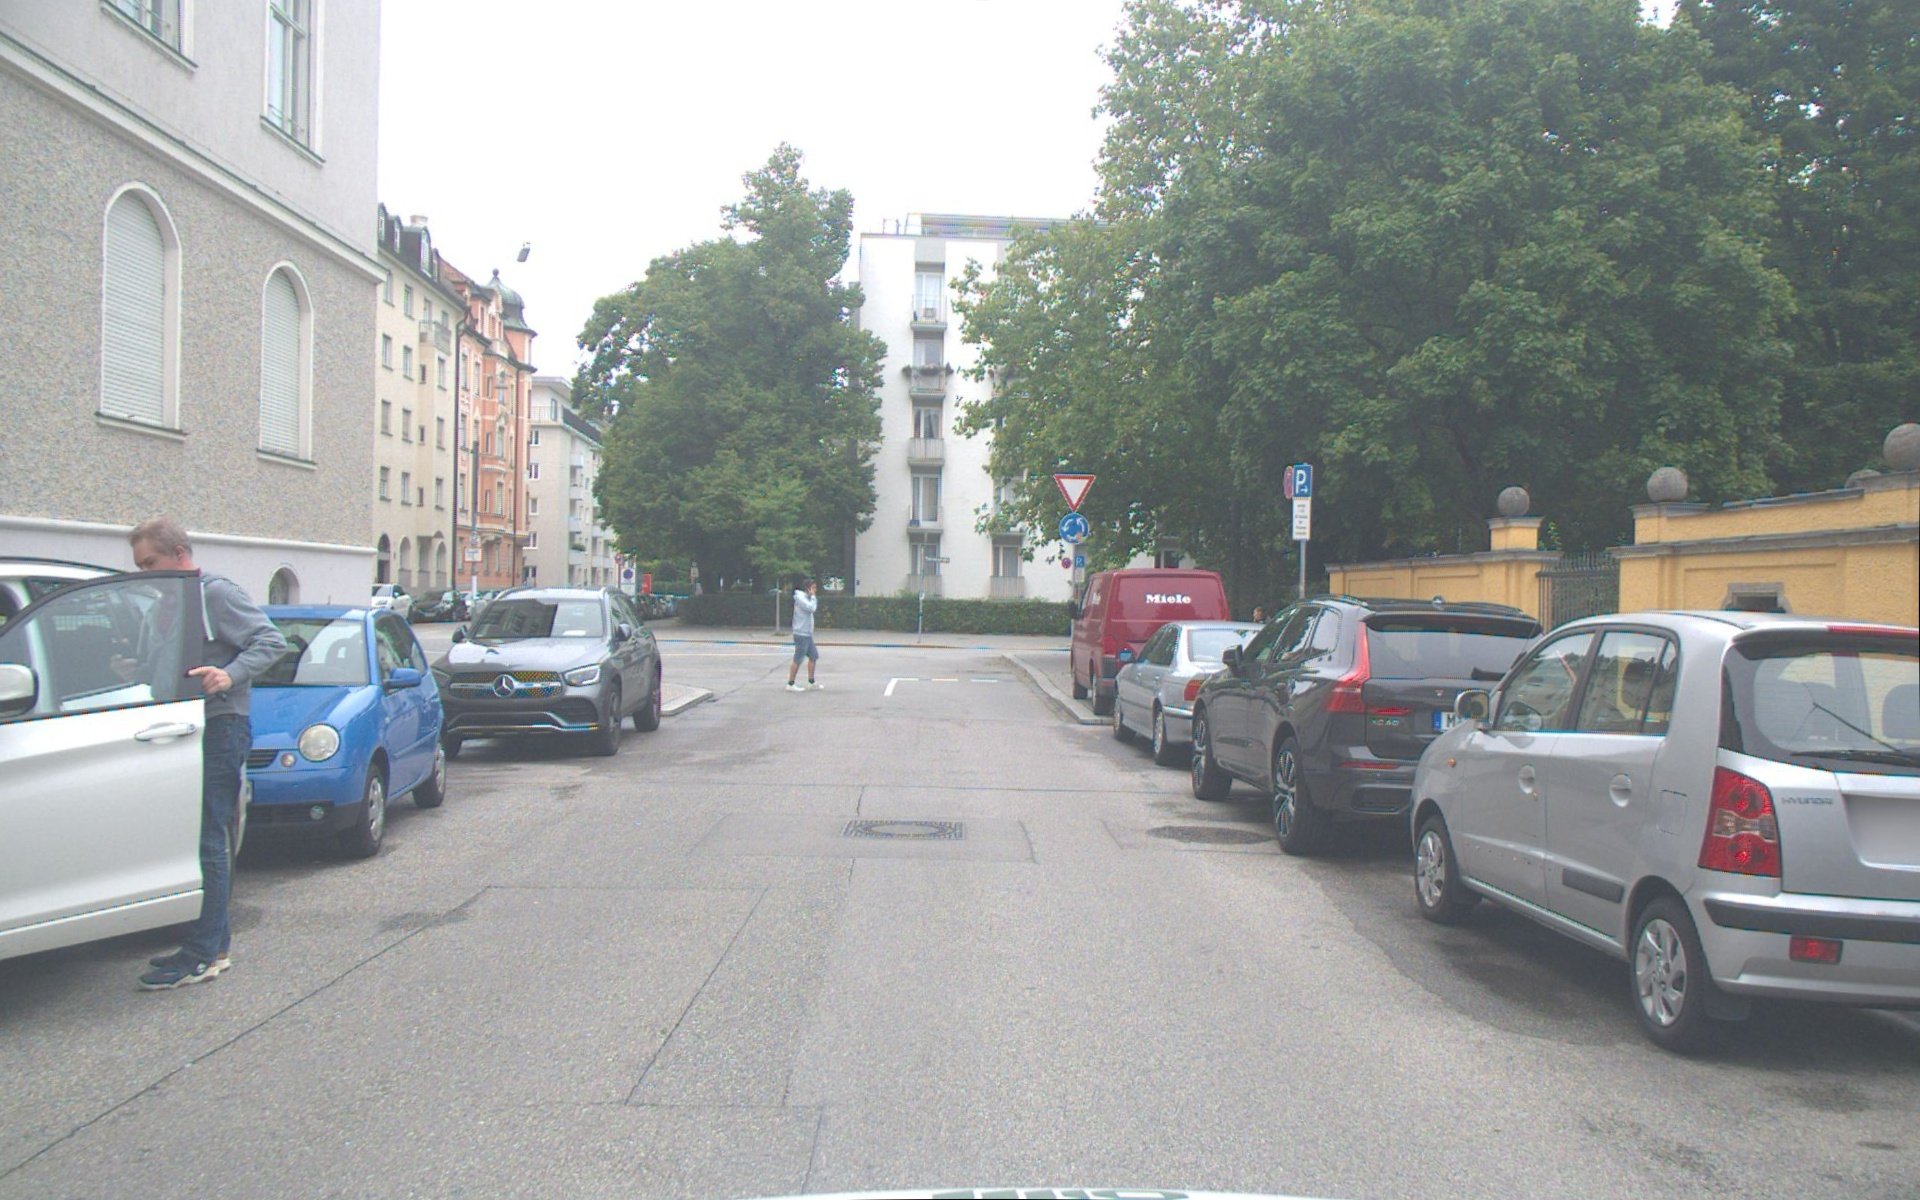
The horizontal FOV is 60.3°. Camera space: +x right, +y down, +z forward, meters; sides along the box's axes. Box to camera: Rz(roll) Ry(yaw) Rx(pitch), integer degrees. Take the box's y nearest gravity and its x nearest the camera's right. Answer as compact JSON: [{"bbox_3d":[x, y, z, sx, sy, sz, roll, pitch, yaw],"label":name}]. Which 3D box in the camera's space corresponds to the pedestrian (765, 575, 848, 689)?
[{"bbox_3d":[-2.472,0.513,26.626,1.037,1.802,0.868,2,-1,-30],"label":"pedestrian"}]

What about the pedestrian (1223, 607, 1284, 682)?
[{"bbox_3d":[5.512,0.831,31.096,0.988,1.361,0.877,1,-1,2],"label":"pedestrian"}]

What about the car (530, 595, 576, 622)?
[{"bbox_3d":[-25.567,0.550,103.963,1.936,1.608,4.405,2,0,-3],"label":"car"}]

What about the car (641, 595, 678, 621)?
[{"bbox_3d":[-19.275,0.507,106.194,1.798,1.663,3.818,0,0,-2],"label":"car"}]

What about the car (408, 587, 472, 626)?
[{"bbox_3d":[-23.692,0.287,75.484,1.938,1.644,4.704,2,0,-8],"label":"car"}]

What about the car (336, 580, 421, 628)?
[{"bbox_3d":[-22.776,0.151,64.968,1.937,1.730,4.835,2,0,-5],"label":"car"}]

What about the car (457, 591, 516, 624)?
[{"bbox_3d":[-24.452,0.392,85.498,1.936,1.608,4.405,2,0,-3],"label":"car"}]

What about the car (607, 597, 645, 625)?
[{"bbox_3d":[-18.517,0.583,91.898,1.800,1.531,4.108,0,0,-8],"label":"car"}]

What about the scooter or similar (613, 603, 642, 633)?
[{"bbox_3d":[-12.636,0.667,62.877,0.989,1.107,0.386,2,-1,-32],"label":"scooter or similar"}]

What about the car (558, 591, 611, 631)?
[{"bbox_3d":[-14.826,0.424,65.441,1.785,1.531,4.412,0,0,-9],"label":"car"}]

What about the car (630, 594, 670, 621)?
[{"bbox_3d":[-19.123,0.457,102.155,1.798,1.663,3.818,0,0,-2],"label":"car"}]

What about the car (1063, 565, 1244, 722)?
[{"bbox_3d":[2.670,0.571,23.990,1.836,1.954,4.886,3,0,-2],"label":"car"}]

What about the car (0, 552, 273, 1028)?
[{"bbox_3d":[-4.144,0.649,5.797,1.711,1.630,4.494,0,0,-2],"label":"car"}]

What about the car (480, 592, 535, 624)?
[{"bbox_3d":[-24.733,0.437,90.489,1.936,1.608,4.405,2,0,-3],"label":"car"}]

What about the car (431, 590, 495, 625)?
[{"bbox_3d":[-24.109,0.344,80.346,1.936,1.608,4.405,2,0,-3],"label":"car"}]

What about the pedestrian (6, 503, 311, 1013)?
[{"bbox_3d":[-3.118,0.558,6.412,0.951,1.786,0.867,2,0,-31],"label":"pedestrian"}]

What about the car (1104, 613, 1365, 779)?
[{"bbox_3d":[2.864,0.953,18.259,1.847,1.474,4.365,3,0,-4],"label":"car"}]

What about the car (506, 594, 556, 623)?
[{"bbox_3d":[-25.210,0.493,97.389,1.936,1.608,4.405,2,0,-3],"label":"car"}]

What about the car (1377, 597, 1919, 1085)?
[{"bbox_3d":[3.166,0.817,7.286,1.455,1.566,3.690,3,0,-4],"label":"car"}]

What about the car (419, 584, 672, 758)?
[{"bbox_3d":[-4.279,0.676,17.772,1.711,1.630,4.494,0,0,-2],"label":"car"}]

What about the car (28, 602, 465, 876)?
[{"bbox_3d":[-4.333,0.738,10.638,1.660,1.439,3.656,0,0,-8],"label":"car"}]

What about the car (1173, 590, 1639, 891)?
[{"bbox_3d":[2.949,0.835,12.163,1.847,1.682,4.821,3,0,-3],"label":"car"}]
